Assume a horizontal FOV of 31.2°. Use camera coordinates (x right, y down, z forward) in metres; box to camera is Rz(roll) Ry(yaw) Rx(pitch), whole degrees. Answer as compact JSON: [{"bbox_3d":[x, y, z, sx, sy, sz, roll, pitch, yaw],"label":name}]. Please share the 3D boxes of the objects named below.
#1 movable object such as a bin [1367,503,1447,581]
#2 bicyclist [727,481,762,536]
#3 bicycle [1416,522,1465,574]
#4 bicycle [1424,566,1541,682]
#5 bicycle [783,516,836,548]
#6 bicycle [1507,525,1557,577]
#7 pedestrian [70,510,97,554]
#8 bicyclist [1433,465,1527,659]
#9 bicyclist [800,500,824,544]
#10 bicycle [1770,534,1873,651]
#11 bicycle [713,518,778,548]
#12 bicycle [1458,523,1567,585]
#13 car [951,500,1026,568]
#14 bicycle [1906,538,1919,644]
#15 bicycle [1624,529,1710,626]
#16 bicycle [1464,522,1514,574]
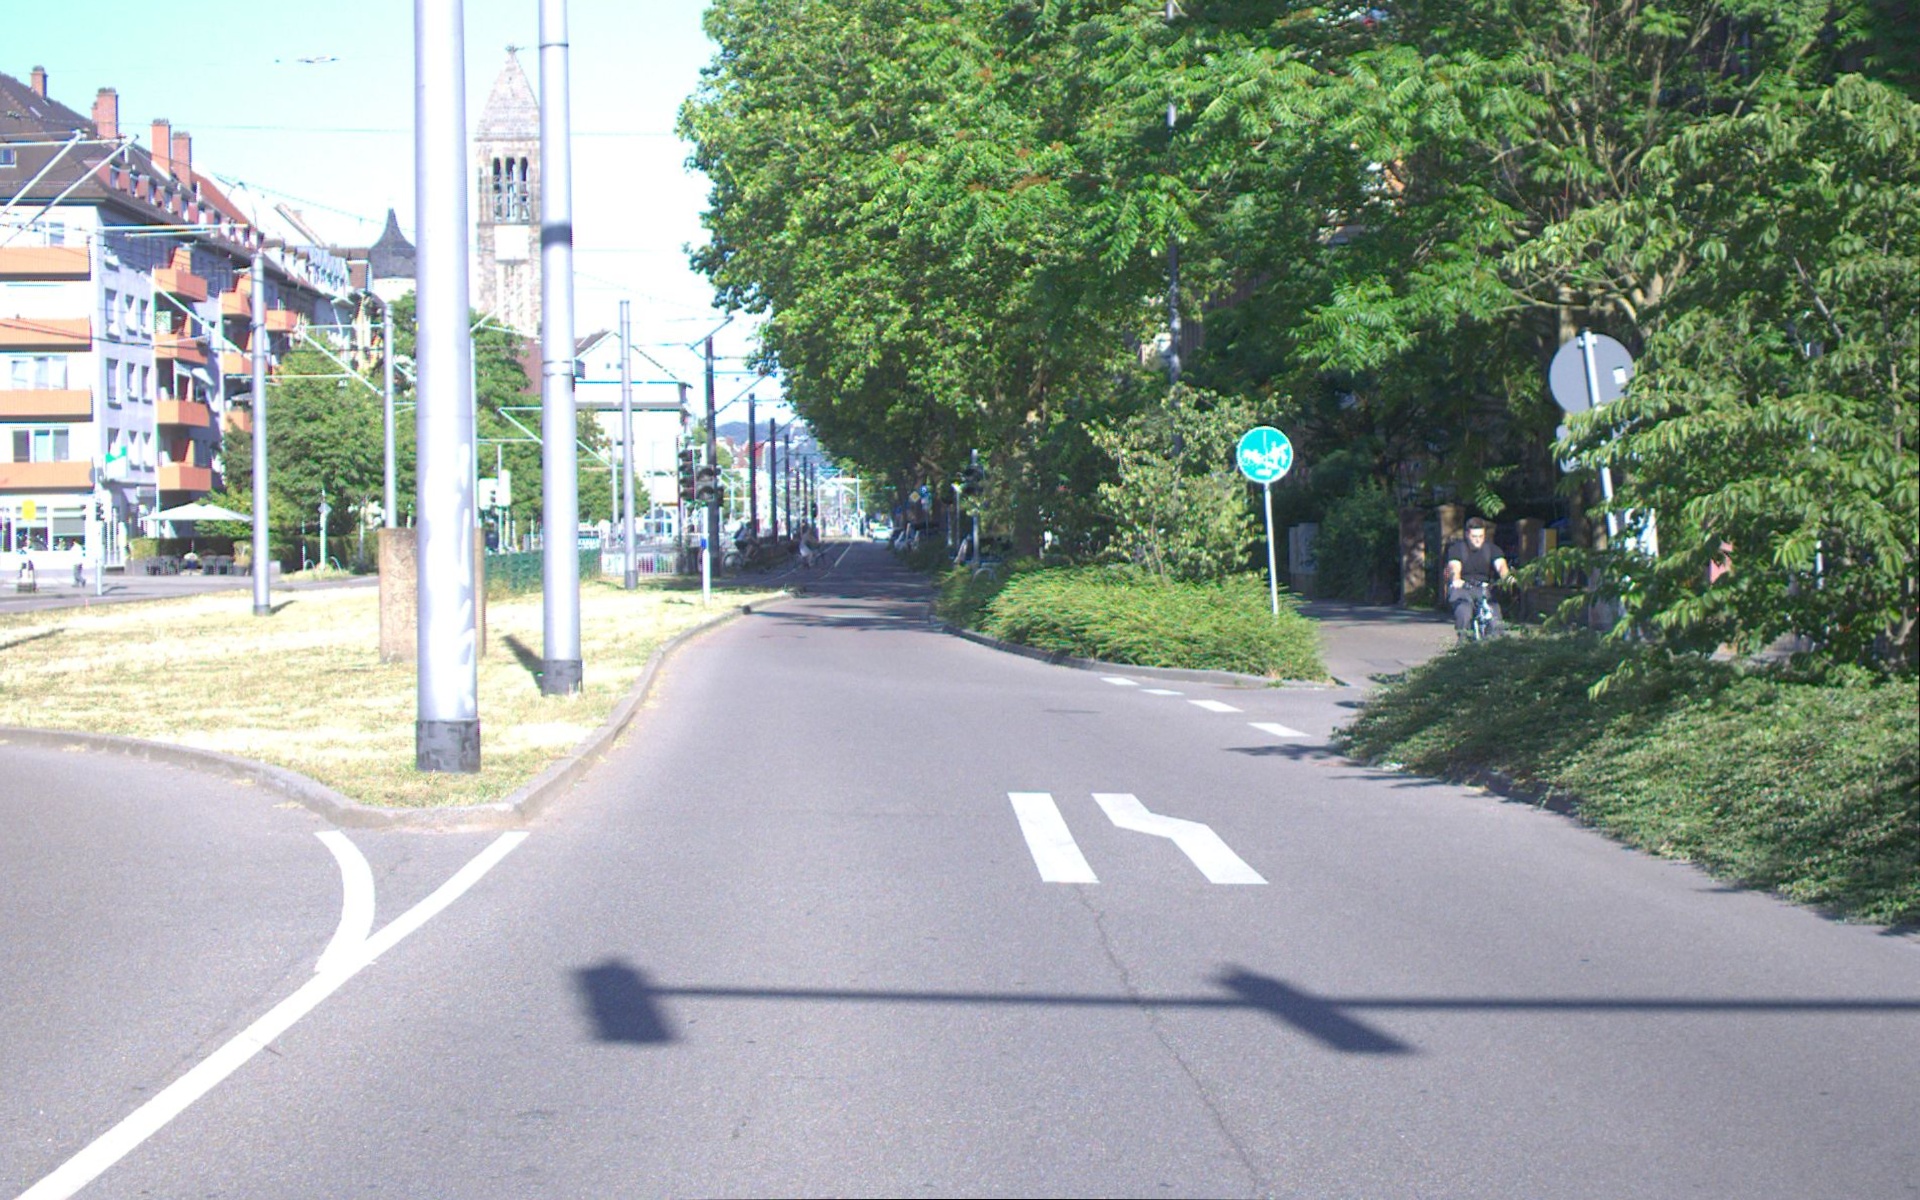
[{"bbox_3d":[8.290,-1.086,63.759,1.232,1.377,1.257,-2,2,-2],"label":"movable object such as a bin"},{"bbox_3d":[-7.602,-3.223,121.317,1.141,1.884,0.682,-2,4,-1],"label":"bicyclist"},{"bbox_3d":[8.302,-0.902,59.429,0.768,0.851,0.375,-2,4,-4],"label":"bicycle"},{"bbox_3d":[4.978,0.206,32.887,0.641,1.044,2.360,-2,1,-2],"label":"bicycle"},{"bbox_3d":[-5.426,-2.458,123.847,1.814,1.044,0.573,-3,4,-9],"label":"bicycle"},{"bbox_3d":[9.894,-0.842,59.496,0.768,0.851,0.375,-2,4,-4],"label":"bicycle"},{"bbox_3d":[-30.305,-2.339,118.833,0.589,1.462,0.916,-4,5,-31],"label":"pedestrian"},{"bbox_3d":[4.968,-0.363,32.883,0.641,1.808,1.052,-2,1,-2],"label":"bicyclist"},{"bbox_3d":[-5.334,-2.811,123.848,0.749,1.552,0.573,-3,4,-9],"label":"bicyclist"},{"bbox_3d":[8.797,-0.089,35.169,0.517,1.044,1.821,-2,4,-2],"label":"bicycle"},{"bbox_3d":[-7.564,-2.370,121.395,2.241,0.972,0.682,-1,4,-2],"label":"bicycle"},{"bbox_3d":[8.886,-0.743,55.331,1.652,0.921,0.539,-2,4,0],"label":"bicycle"},{"bbox_3d":[0.661,-1.594,82.455,1.643,1.506,4.183,-2,2,-1],"label":"car"},{"bbox_3d":[9.941,-0.047,34.147,0.517,1.044,1.821,-2,4,-2],"label":"bicycle"},{"bbox_3d":[8.092,-0.269,39.383,0.525,0.985,1.723,-2,4,-3],"label":"bicycle"},{"bbox_3d":[9.151,-0.906,59.489,0.768,0.851,0.375,-2,4,-4],"label":"bicycle"}]
